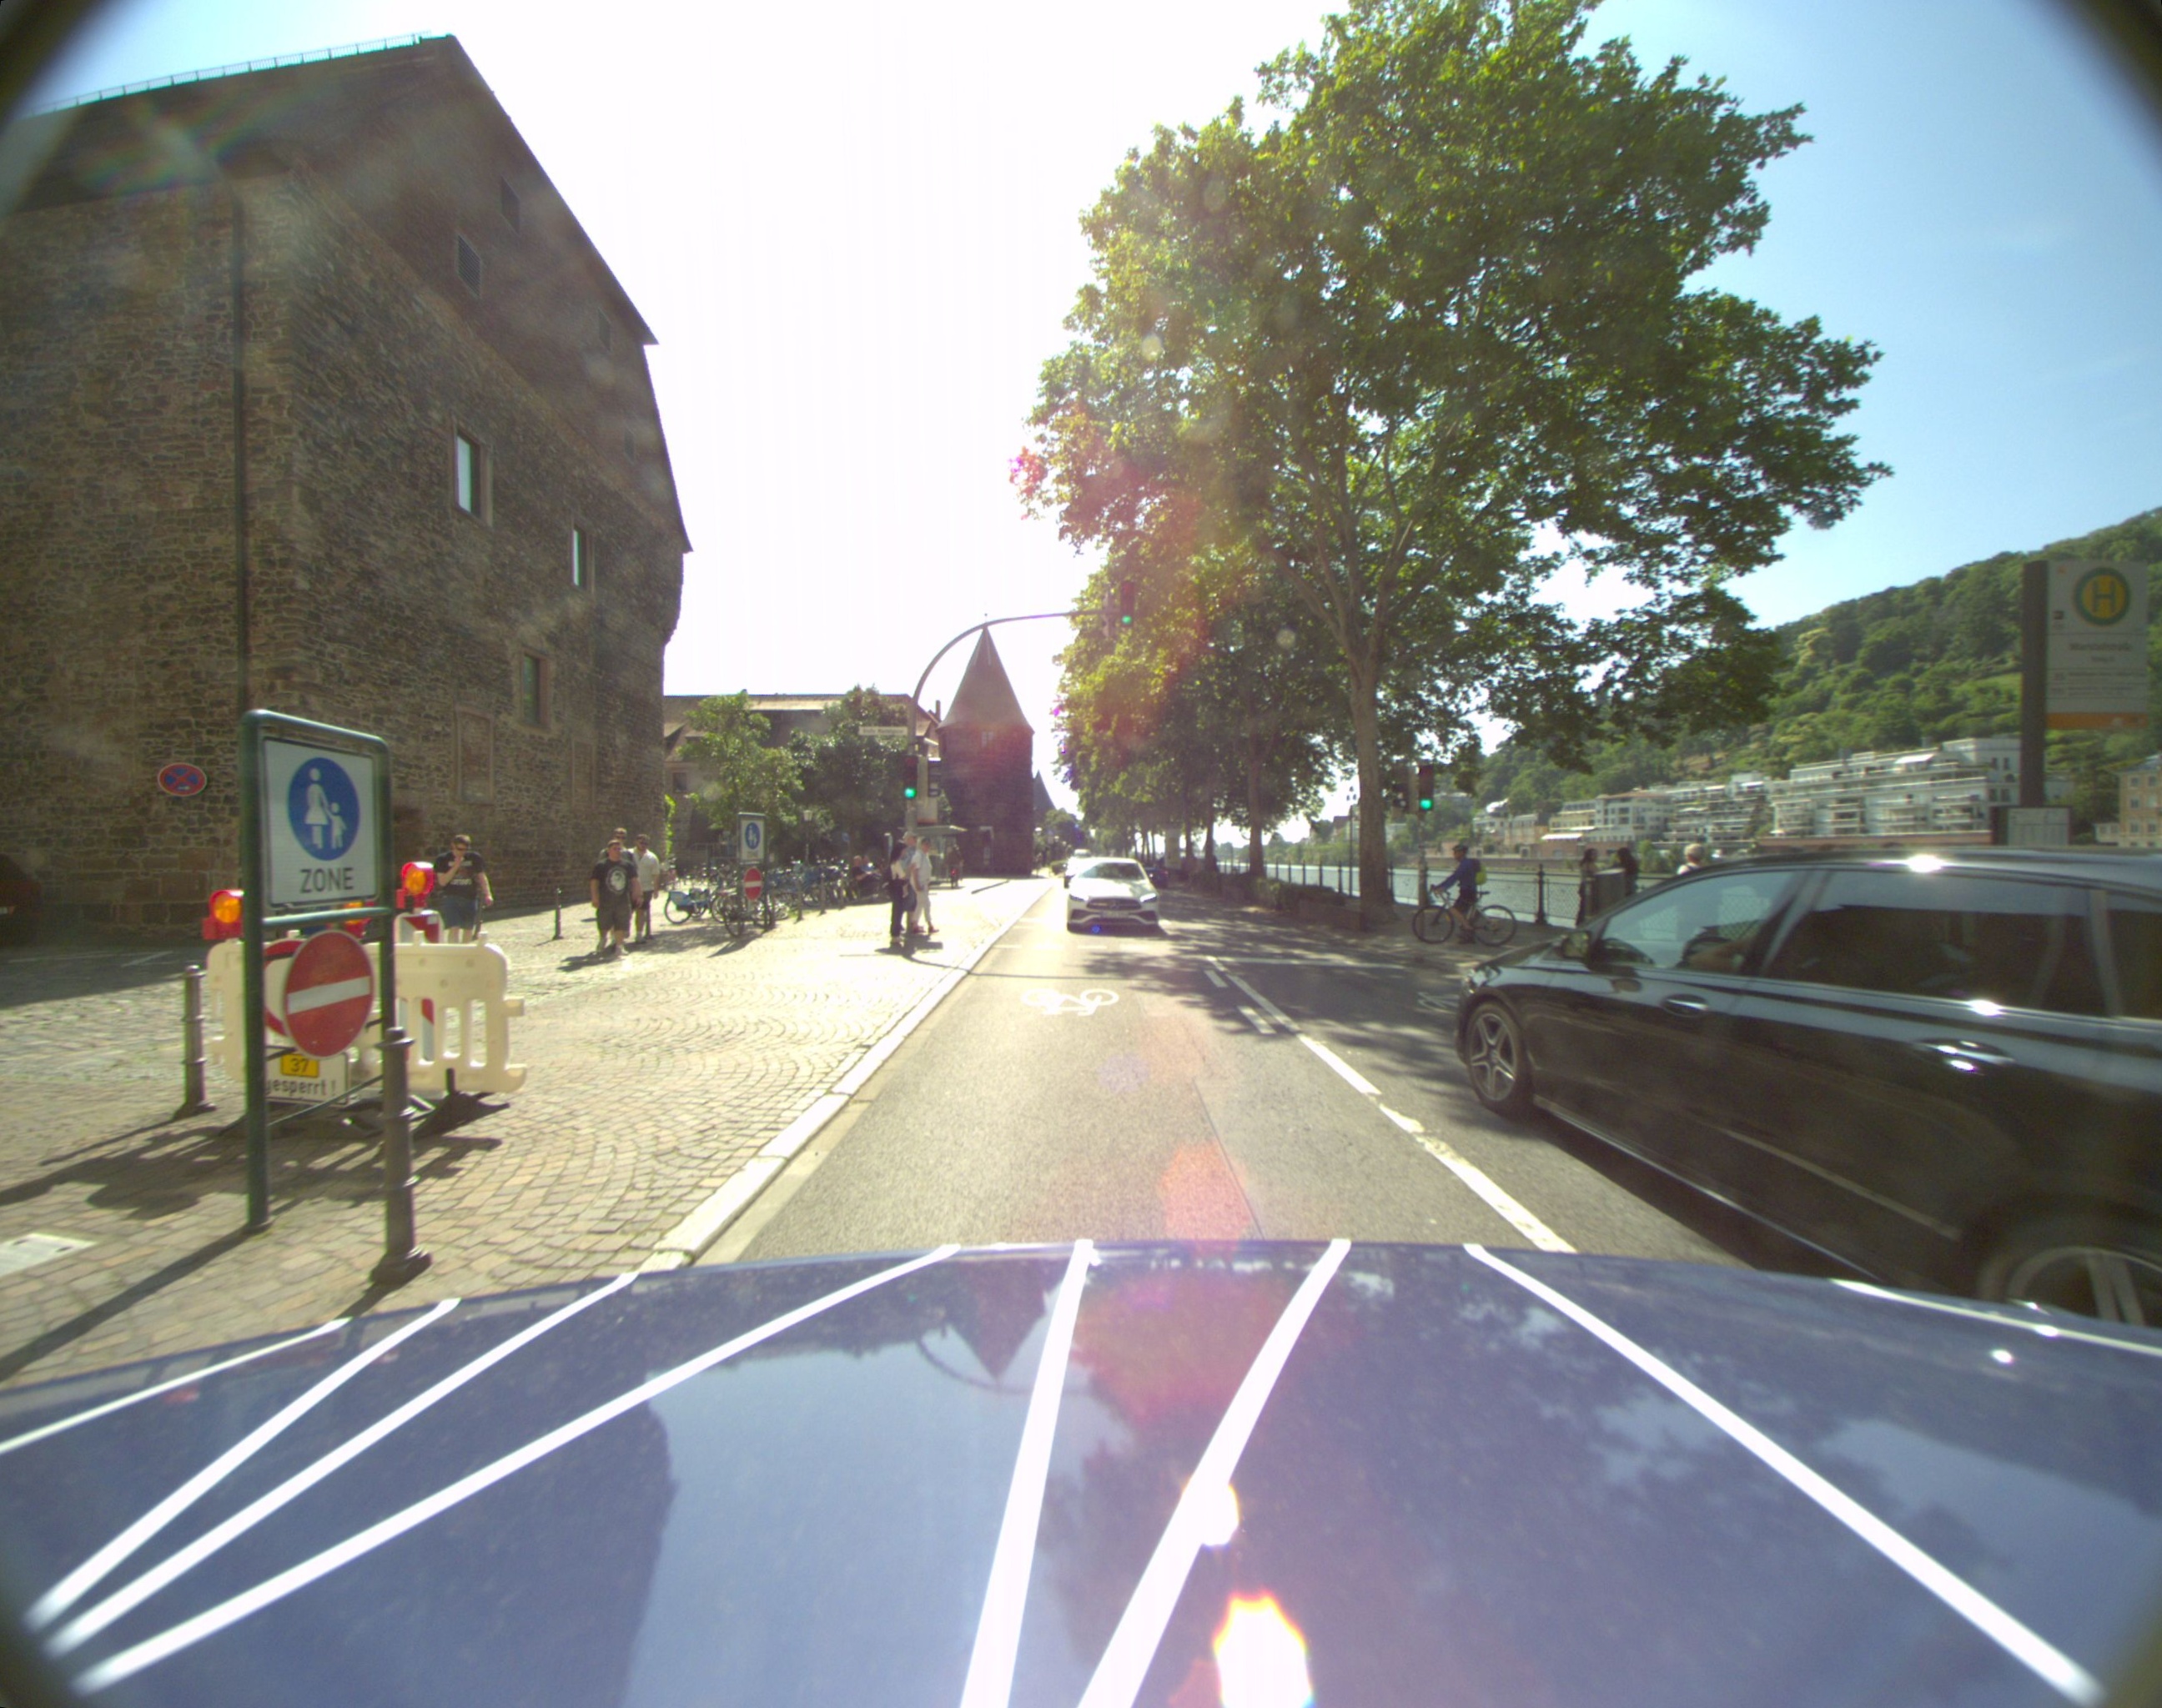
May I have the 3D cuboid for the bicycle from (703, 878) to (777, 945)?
[{"bbox_3d":[-6.077,0.995,13.619,0.509,0.998,1.579,-1,3,3],"label":"bicycle"}]

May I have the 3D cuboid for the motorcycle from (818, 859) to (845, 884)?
[{"bbox_3d":[-12.727,0.897,38.799,0.671,1.224,1.807,-1,-1,3],"label":"motorcycle"}]

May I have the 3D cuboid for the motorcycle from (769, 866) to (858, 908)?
[{"bbox_3d":[-7.473,0.910,21.296,2.210,1.097,0.776,-1,0,-1],"label":"motorcycle"}]

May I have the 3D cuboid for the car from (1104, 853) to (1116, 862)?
[{"bbox_3d":[5.346,0.675,139.486,1.998,1.598,4.257,0,0,0],"label":"car"}]

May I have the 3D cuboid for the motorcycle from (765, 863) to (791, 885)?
[{"bbox_3d":[-15.598,1.017,39.158,0.631,1.074,1.929,0,-1,-3],"label":"motorcycle"}]

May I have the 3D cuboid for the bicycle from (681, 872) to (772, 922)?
[{"bbox_3d":[-8.154,0.978,17.530,1.797,1.104,0.608,-1,0,-1],"label":"bicycle"}]

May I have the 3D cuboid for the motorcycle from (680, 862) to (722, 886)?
[{"bbox_3d":[-20.313,1.054,40.704,0.598,1.229,2.050,0,1,27],"label":"motorcycle"}]

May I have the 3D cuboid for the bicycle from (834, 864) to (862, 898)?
[{"bbox_3d":[-8.071,0.907,26.291,0.548,1.125,1.733,0,1,-29],"label":"bicycle"}]

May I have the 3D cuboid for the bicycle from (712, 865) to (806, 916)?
[{"bbox_3d":[-7.949,0.887,18.792,2.085,1.191,0.527,-1,0,-1],"label":"bicycle"}]

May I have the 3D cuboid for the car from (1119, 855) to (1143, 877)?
[{"bbox_3d":[3.979,0.933,60.601,1.705,1.509,4.405,3,0,2],"label":"car"}]

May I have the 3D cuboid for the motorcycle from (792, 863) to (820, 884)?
[{"bbox_3d":[-14.550,1.021,40.205,0.877,1.087,1.904,0,0,-3],"label":"motorcycle"}]

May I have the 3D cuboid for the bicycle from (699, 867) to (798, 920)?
[{"bbox_3d":[-7.943,0.940,18.190,2.085,1.191,0.608,-1,0,-1],"label":"bicycle"}]

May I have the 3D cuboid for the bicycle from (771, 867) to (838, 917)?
[{"bbox_3d":[-8.568,1.169,23.567,1.552,1.190,0.725,-14,-2,7],"label":"bicycle"}]

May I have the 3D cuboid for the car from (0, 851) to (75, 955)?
[{"bbox_3d":[-19.699,0.793,12.459,4.170,1.691,1.939,0,0,5],"label":"car"}]

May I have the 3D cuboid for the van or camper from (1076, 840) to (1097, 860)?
[{"bbox_3d":[0.664,-0.456,91.281,2.437,2.271,6.203,0,0,0],"label":"van or camper"}]

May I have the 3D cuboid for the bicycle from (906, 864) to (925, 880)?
[{"bbox_3d":[-10.874,1.160,49.966,0.659,0.996,1.714,0,0,10],"label":"bicycle"}]

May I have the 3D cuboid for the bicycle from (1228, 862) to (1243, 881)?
[{"bbox_3d":[9.896,1.105,48.824,0.564,1.146,1.844,-2,0,0],"label":"bicycle"}]

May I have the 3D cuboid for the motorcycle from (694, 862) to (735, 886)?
[{"bbox_3d":[-19.613,1.034,40.712,0.598,1.229,2.050,0,1,26],"label":"motorcycle"}]

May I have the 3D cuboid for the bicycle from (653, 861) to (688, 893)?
[{"bbox_3d":[-15.629,0.866,28.968,0.527,1.154,1.925,0,0,-9],"label":"bicycle"}]

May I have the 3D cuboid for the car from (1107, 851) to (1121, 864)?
[{"bbox_3d":[4.630,0.496,107.722,1.875,1.661,4.745,1,-1,1],"label":"car"}]

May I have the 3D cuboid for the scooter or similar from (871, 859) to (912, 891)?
[{"bbox_3d":[-7.469,0.823,29.986,1.434,1.208,0.652,-2,1,0],"label":"scooter or similar"}]

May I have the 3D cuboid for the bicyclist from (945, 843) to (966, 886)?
[{"bbox_3d":[-4.755,0.383,28.820,0.711,1.619,0.886,0,1,-7],"label":"bicyclist"}]

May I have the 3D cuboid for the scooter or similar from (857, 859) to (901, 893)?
[{"bbox_3d":[-7.577,0.822,28.511,1.434,1.208,0.652,-2,1,0],"label":"scooter or similar"}]

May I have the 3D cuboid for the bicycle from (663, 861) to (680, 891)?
[{"bbox_3d":[-16.394,0.861,30.423,0.548,1.146,1.922,0,1,-30],"label":"bicycle"}]

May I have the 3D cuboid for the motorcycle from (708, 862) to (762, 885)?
[{"bbox_3d":[-17.427,0.973,38.277,2.342,1.140,0.878,-1,1,4],"label":"motorcycle"}]

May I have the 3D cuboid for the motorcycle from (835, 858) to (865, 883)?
[{"bbox_3d":[-11.812,0.841,38.906,0.740,1.229,2.272,0,0,3],"label":"motorcycle"}]

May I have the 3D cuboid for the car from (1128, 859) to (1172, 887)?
[{"bbox_3d":[3.552,0.956,39.994,1.845,1.262,4.261,3,0,0],"label":"car"}]

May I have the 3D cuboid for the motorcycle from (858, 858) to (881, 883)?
[{"bbox_3d":[-10.920,0.859,39.263,0.660,1.229,2.215,0,0,-3],"label":"motorcycle"}]

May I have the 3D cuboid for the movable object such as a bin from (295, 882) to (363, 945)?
[{"bbox_3d":[-13.987,1.093,14.149,0.490,1.117,0.751,0,1,1],"label":"movable object such as a bin"}]

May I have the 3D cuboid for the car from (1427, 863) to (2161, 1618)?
[{"bbox_3d":[3.165,0.855,2.943,1.705,1.509,4.405,2,0,2],"label":"car"}]

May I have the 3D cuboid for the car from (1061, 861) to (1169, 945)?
[{"bbox_3d":[0.639,0.882,15.787,1.875,1.416,4.744,1,0,1],"label":"car"}]
